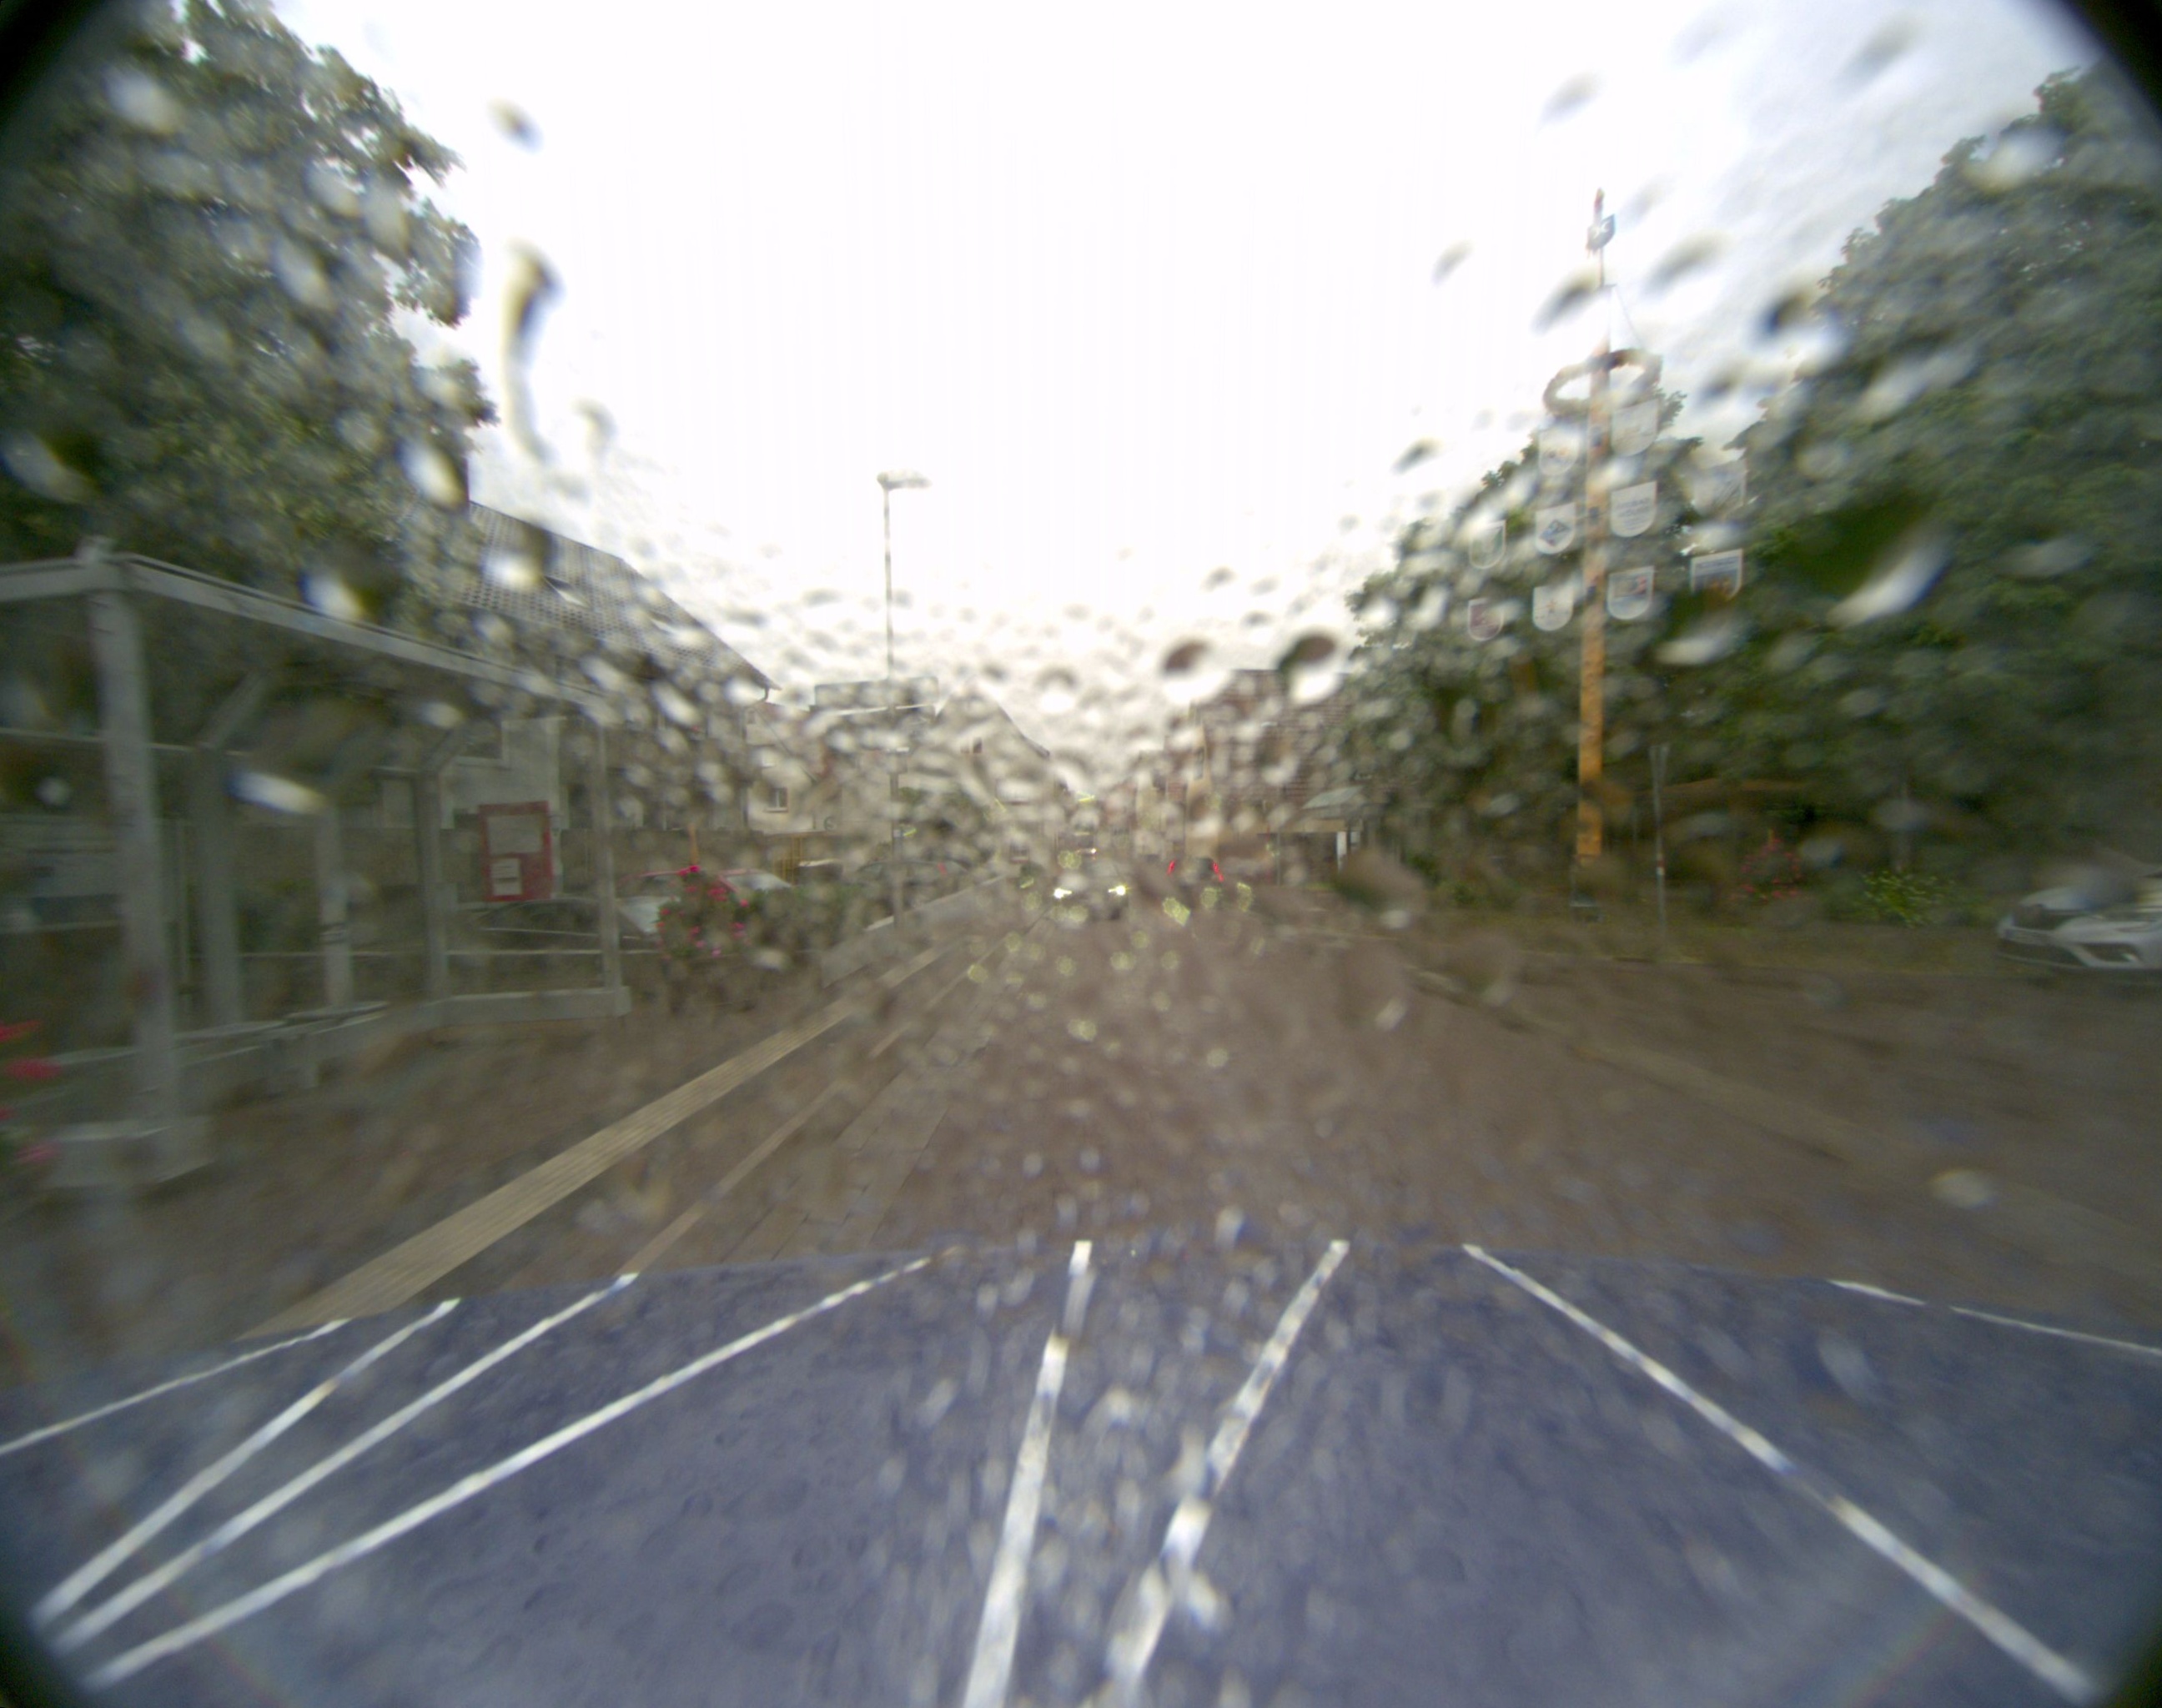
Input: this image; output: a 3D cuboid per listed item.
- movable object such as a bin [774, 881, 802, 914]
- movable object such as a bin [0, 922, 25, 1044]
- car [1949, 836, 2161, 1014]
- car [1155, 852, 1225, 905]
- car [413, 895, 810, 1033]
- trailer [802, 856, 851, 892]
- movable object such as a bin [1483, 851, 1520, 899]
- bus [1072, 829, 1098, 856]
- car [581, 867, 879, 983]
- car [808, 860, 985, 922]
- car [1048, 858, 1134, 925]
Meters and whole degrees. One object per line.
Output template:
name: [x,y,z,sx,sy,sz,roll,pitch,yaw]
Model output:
movable object such as a bin: [-10.083,1.499,26.177,0.624,1.060,0.571,-2,2,28]
movable object such as a bin: [-12.803,1.482,8.168,1.245,1.349,1.155,-2,1,3]
car: [11.514,0.579,6.877,4.450,1.541,1.885,-1,1,22]
car: [3.257,0.669,23.362,1.848,1.468,4.315,0,0,5]
car: [-5.644,1.252,9.377,3.958,1.370,1.753,0,1,9]
trailer: [-13.264,1.019,39.673,1.572,1.732,2.610,-2,1,0]
movable object such as a bin: [10.432,0.504,18.865,0.563,1.140,0.604,-1,3,-1]
bus: [0.515,-1.722,109.899,2.893,3.590,11.971,-1,2,-4]
car: [-5.588,1.054,12.249,4.073,1.580,1.859,-1,1,16]
car: [-4.869,0.950,20.166,4.233,1.472,1.697,-1,1,17]
car: [0.303,0.828,18.435,1.800,1.341,3.738,-3,0,3]
